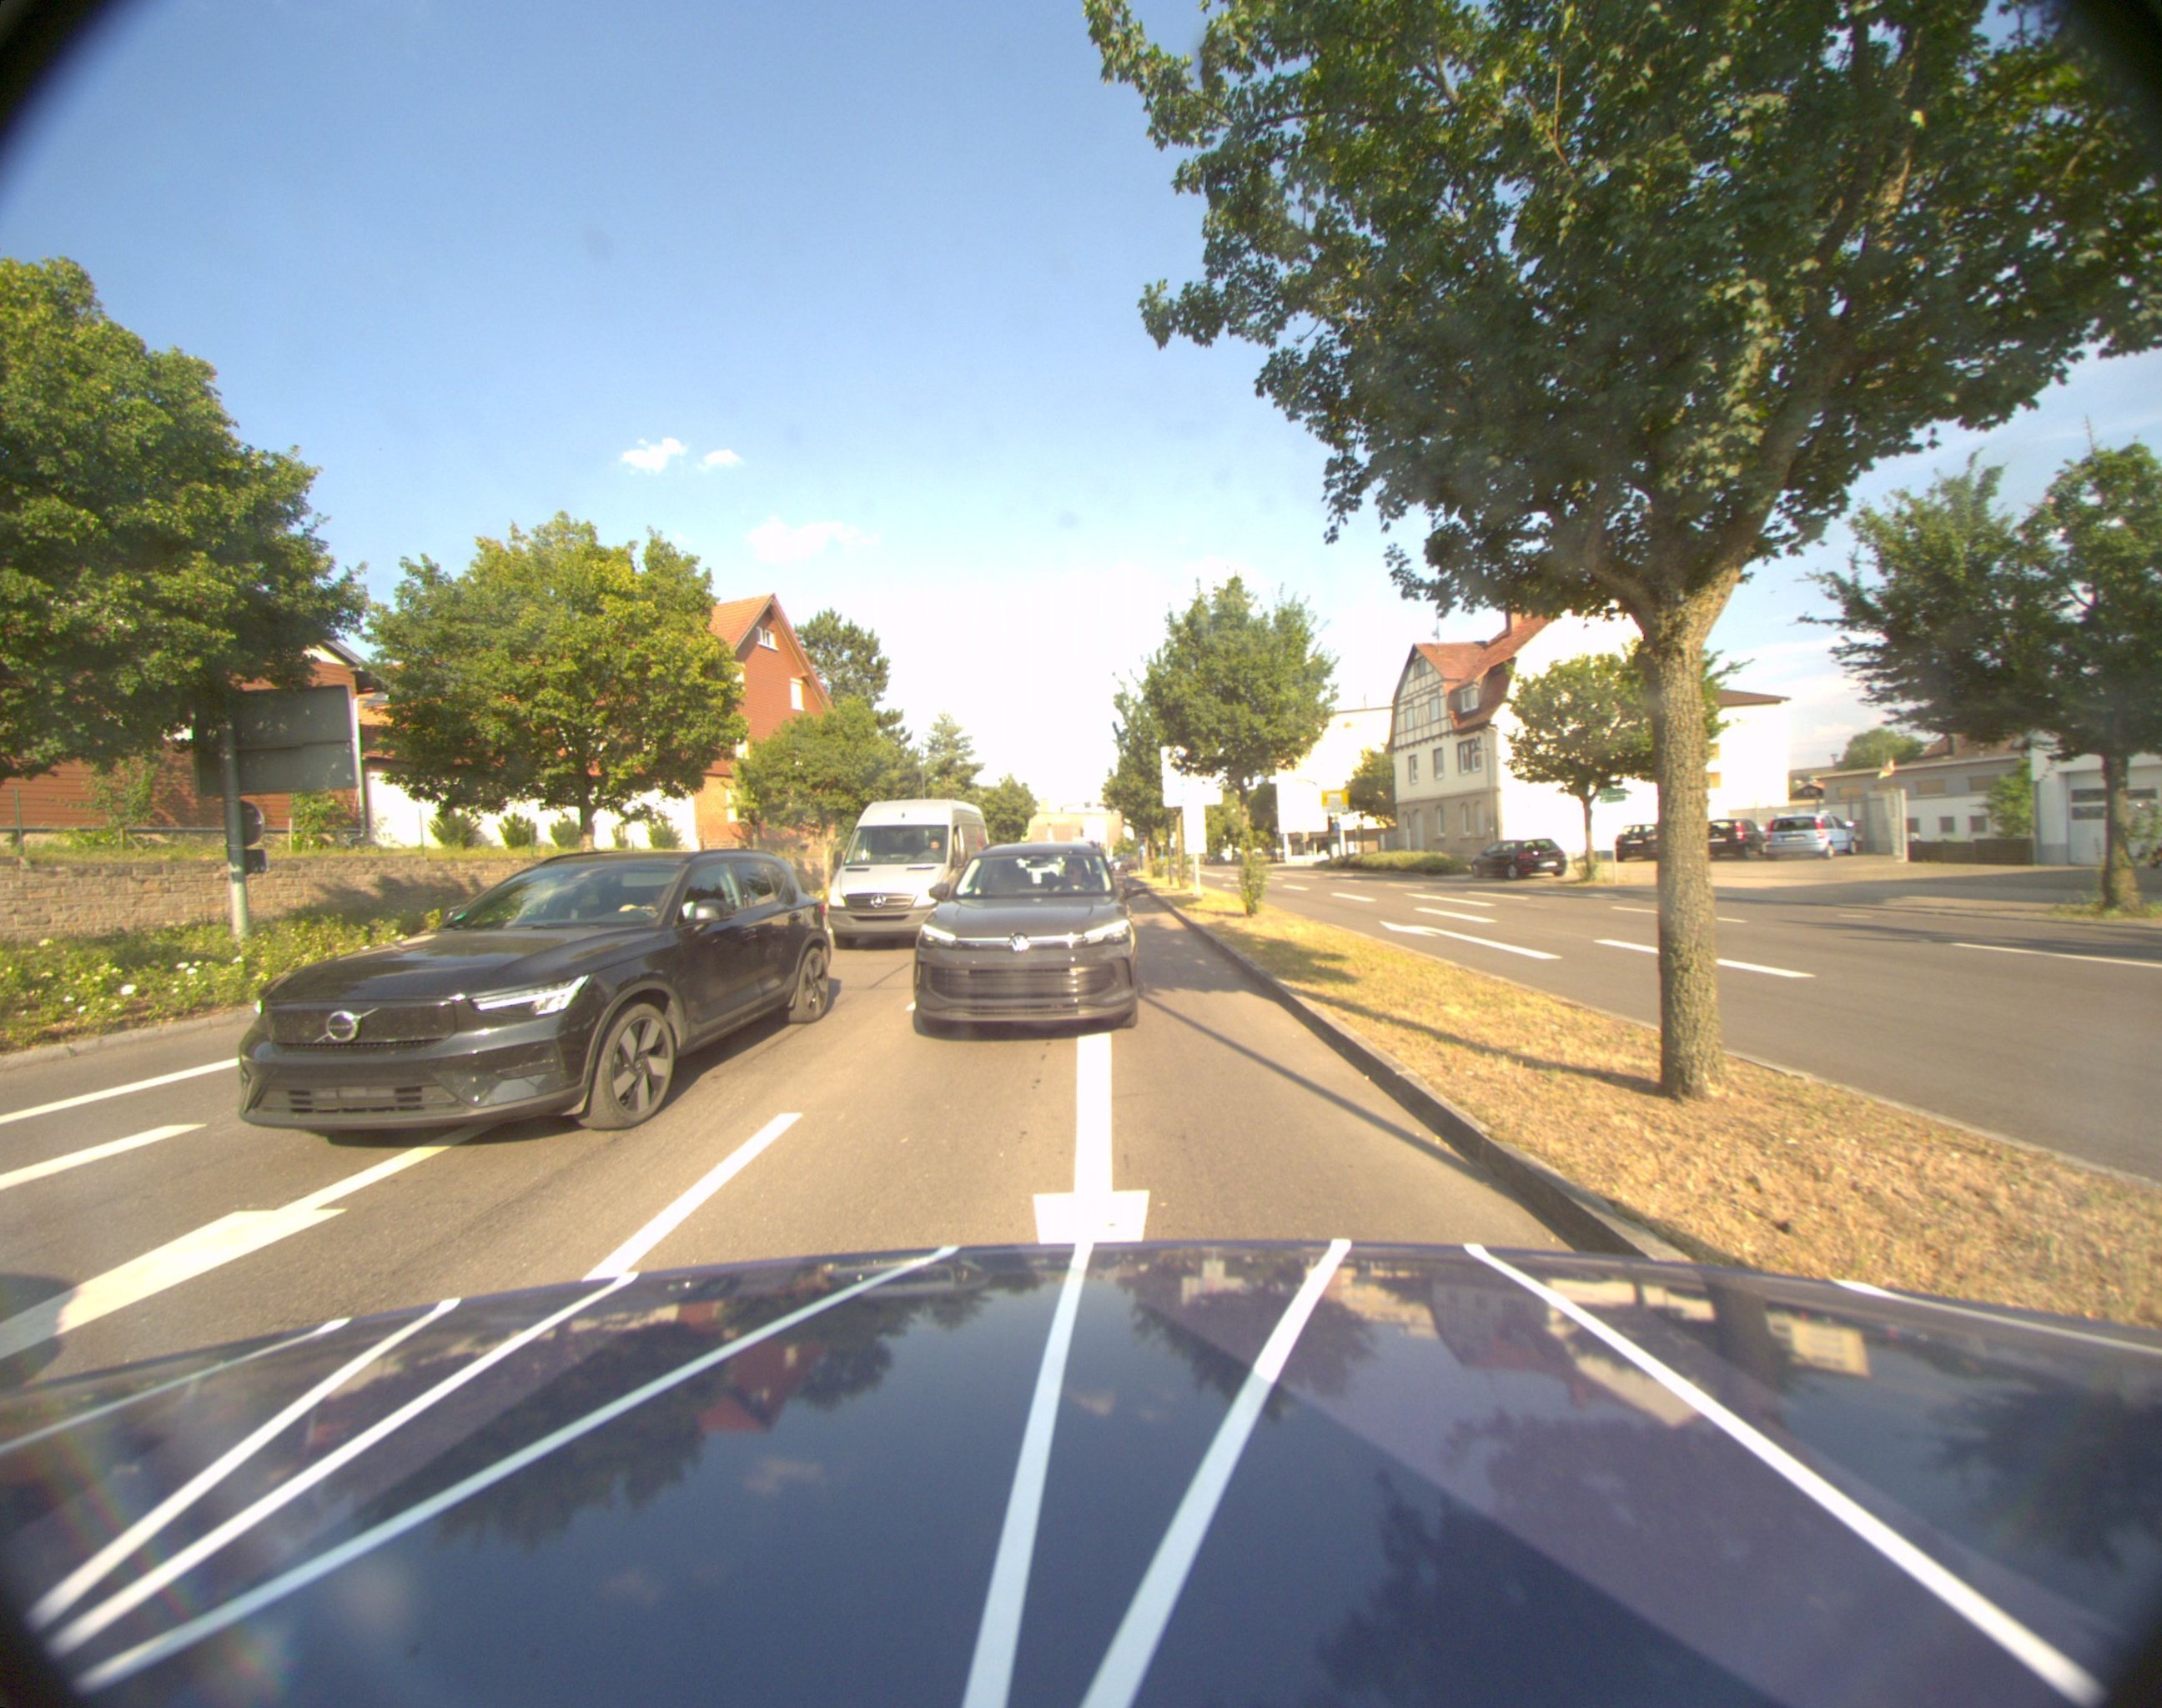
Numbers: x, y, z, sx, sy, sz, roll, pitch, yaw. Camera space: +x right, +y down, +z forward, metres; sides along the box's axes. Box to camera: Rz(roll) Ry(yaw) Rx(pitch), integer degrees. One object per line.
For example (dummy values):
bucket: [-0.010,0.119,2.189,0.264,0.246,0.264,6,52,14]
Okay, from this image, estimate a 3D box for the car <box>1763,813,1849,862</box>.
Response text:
car: [24.646,-0.562,25.802,3.438,1.534,1.617,-2,1,-38]

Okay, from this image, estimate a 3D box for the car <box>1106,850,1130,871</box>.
car: [3.052,0.485,63.546,1.768,1.582,4.056,-3,1,1]

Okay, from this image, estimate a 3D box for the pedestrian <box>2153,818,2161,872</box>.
pedestrian: [27.238,-0.236,18.818,0.596,1.332,0.584,-2,1,-7]

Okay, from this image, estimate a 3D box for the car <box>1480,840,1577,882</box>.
car: [16.115,0.209,27.531,1.672,1.310,3.432,-5,1,6]

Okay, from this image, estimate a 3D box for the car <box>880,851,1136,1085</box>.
car: [-0.480,0.817,7.473,1.768,1.582,4.056,-3,1,1]

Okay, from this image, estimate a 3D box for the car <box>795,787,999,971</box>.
car: [-3.081,0.344,14.578,2.040,2.643,6.649,-3,1,1]

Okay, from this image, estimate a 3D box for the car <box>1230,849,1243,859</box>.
car: [33.190,-0.092,162.540,1.995,2.002,4.005,-2,1,22]

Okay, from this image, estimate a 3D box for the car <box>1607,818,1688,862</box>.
car: [22.957,-0.579,30.765,3.416,1.616,1.857,-3,1,-40]

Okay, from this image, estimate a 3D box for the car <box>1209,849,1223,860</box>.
car: [27.243,0.041,153.254,1.816,2.002,4.006,-2,1,27]

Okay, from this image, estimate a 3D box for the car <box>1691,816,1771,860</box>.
car: [24.499,-0.615,28.603,3.437,1.555,1.583,-3,1,-38]

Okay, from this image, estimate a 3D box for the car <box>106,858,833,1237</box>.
car: [-3.404,0.886,5.434,1.792,1.596,4.056,-2,1,1]

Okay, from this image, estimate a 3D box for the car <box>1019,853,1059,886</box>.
car: [-2.233,0.782,41.033,1.768,1.582,4.056,-3,1,1]

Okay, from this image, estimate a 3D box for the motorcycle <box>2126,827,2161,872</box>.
motorcycle: [27.754,-0.113,18.886,0.488,1.139,2.118,-3,0,-6]
